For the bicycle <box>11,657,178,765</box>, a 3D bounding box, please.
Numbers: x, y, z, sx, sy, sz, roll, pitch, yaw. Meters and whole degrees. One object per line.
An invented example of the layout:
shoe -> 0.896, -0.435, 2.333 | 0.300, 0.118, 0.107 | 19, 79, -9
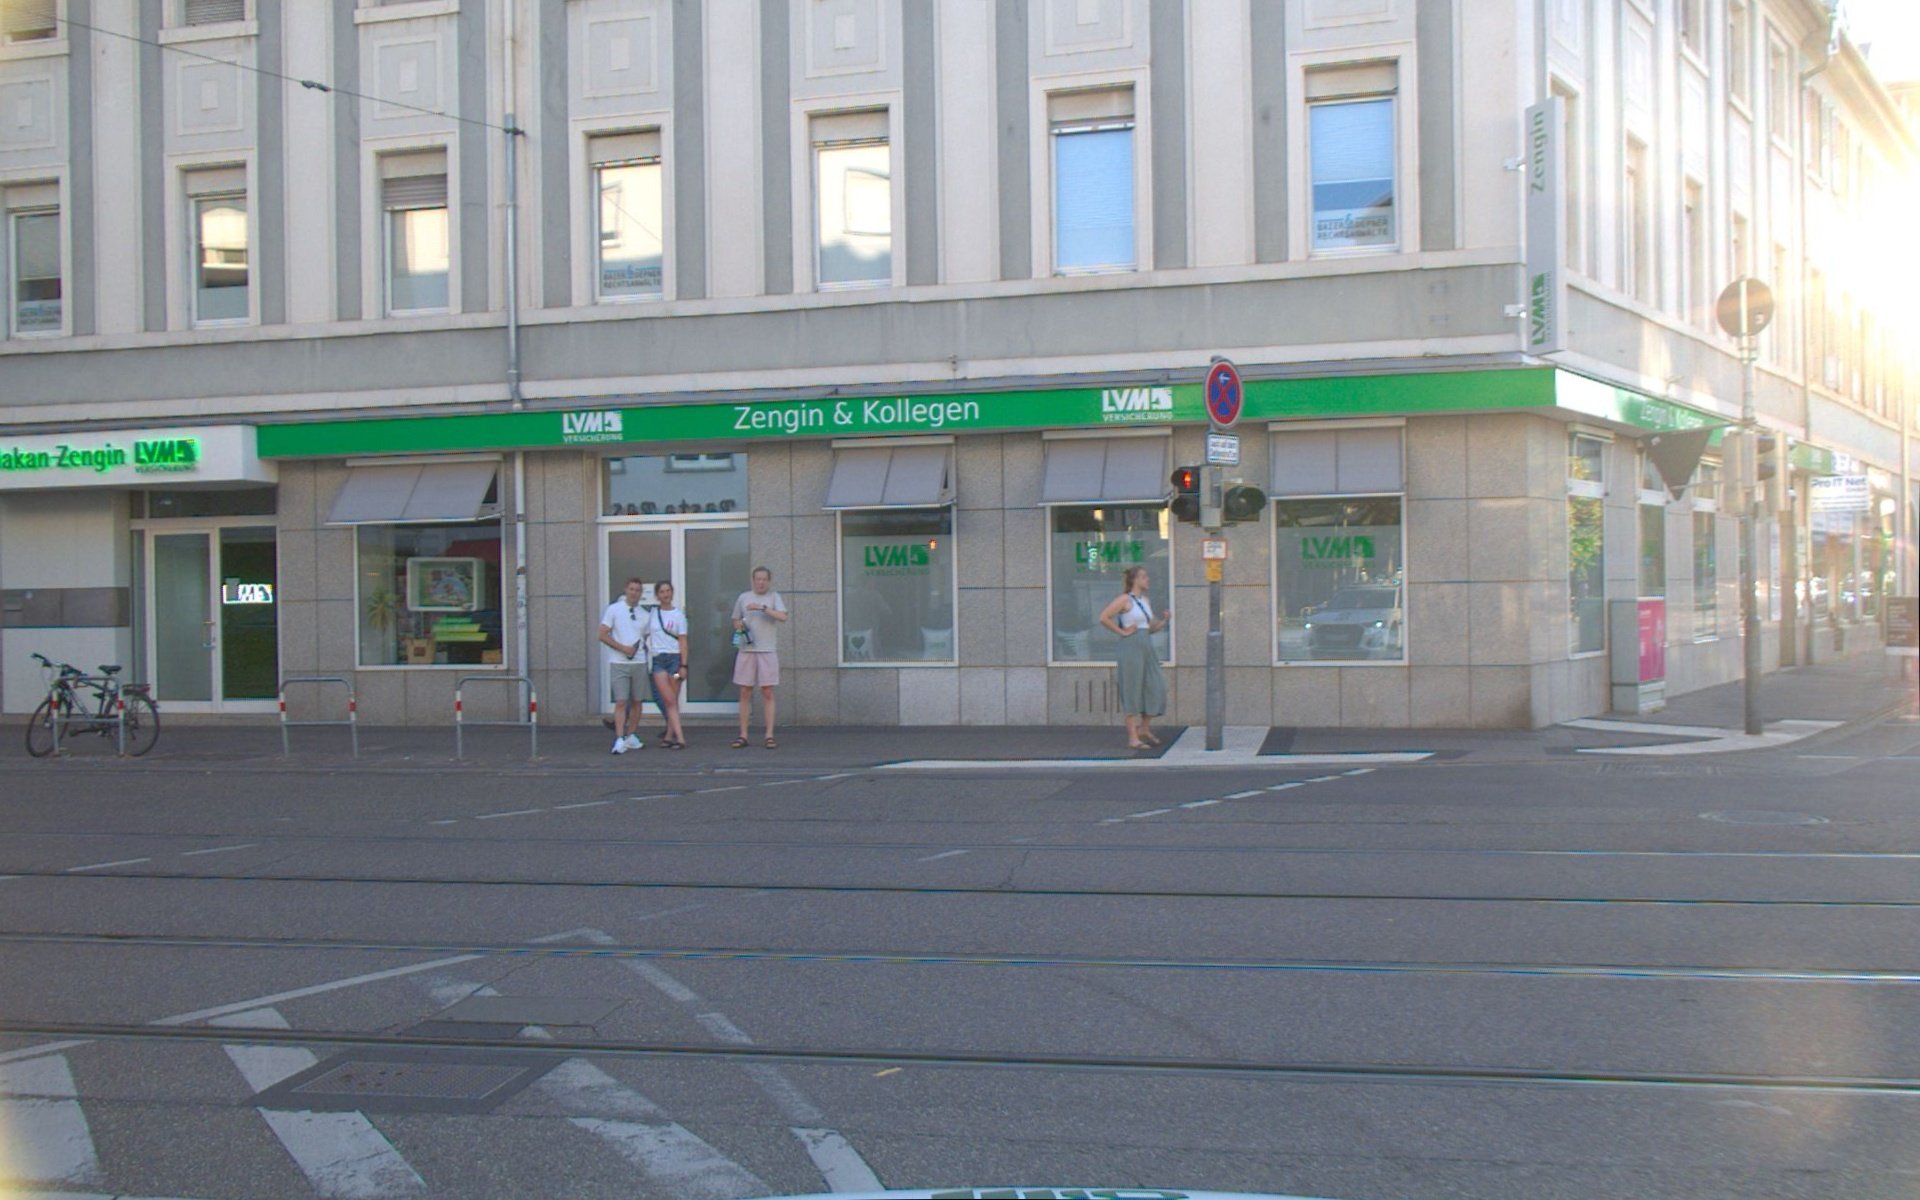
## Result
bicycle -> -9.354, 1.202, 17.887 | 1.607, 1.108, 0.479 | -1, 1, 10

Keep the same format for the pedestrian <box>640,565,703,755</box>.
pedestrian -> -3.038, 0.620, 17.444 | 0.517, 1.962, 0.640 | -1, 0, 2

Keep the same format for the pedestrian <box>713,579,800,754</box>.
pedestrian -> -2.119, 0.681, 17.271 | 0.682, 1.776, 0.640 | -1, 0, 16

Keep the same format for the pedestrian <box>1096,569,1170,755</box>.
pedestrian -> 1.726, 0.603, 16.470 | 0.631, 1.809, 0.673 | -1, 0, 13

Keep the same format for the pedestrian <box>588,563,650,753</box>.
pedestrian -> -3.580, 0.599, 17.397 | 0.484, 1.962, 0.576 | -1, 0, 3
